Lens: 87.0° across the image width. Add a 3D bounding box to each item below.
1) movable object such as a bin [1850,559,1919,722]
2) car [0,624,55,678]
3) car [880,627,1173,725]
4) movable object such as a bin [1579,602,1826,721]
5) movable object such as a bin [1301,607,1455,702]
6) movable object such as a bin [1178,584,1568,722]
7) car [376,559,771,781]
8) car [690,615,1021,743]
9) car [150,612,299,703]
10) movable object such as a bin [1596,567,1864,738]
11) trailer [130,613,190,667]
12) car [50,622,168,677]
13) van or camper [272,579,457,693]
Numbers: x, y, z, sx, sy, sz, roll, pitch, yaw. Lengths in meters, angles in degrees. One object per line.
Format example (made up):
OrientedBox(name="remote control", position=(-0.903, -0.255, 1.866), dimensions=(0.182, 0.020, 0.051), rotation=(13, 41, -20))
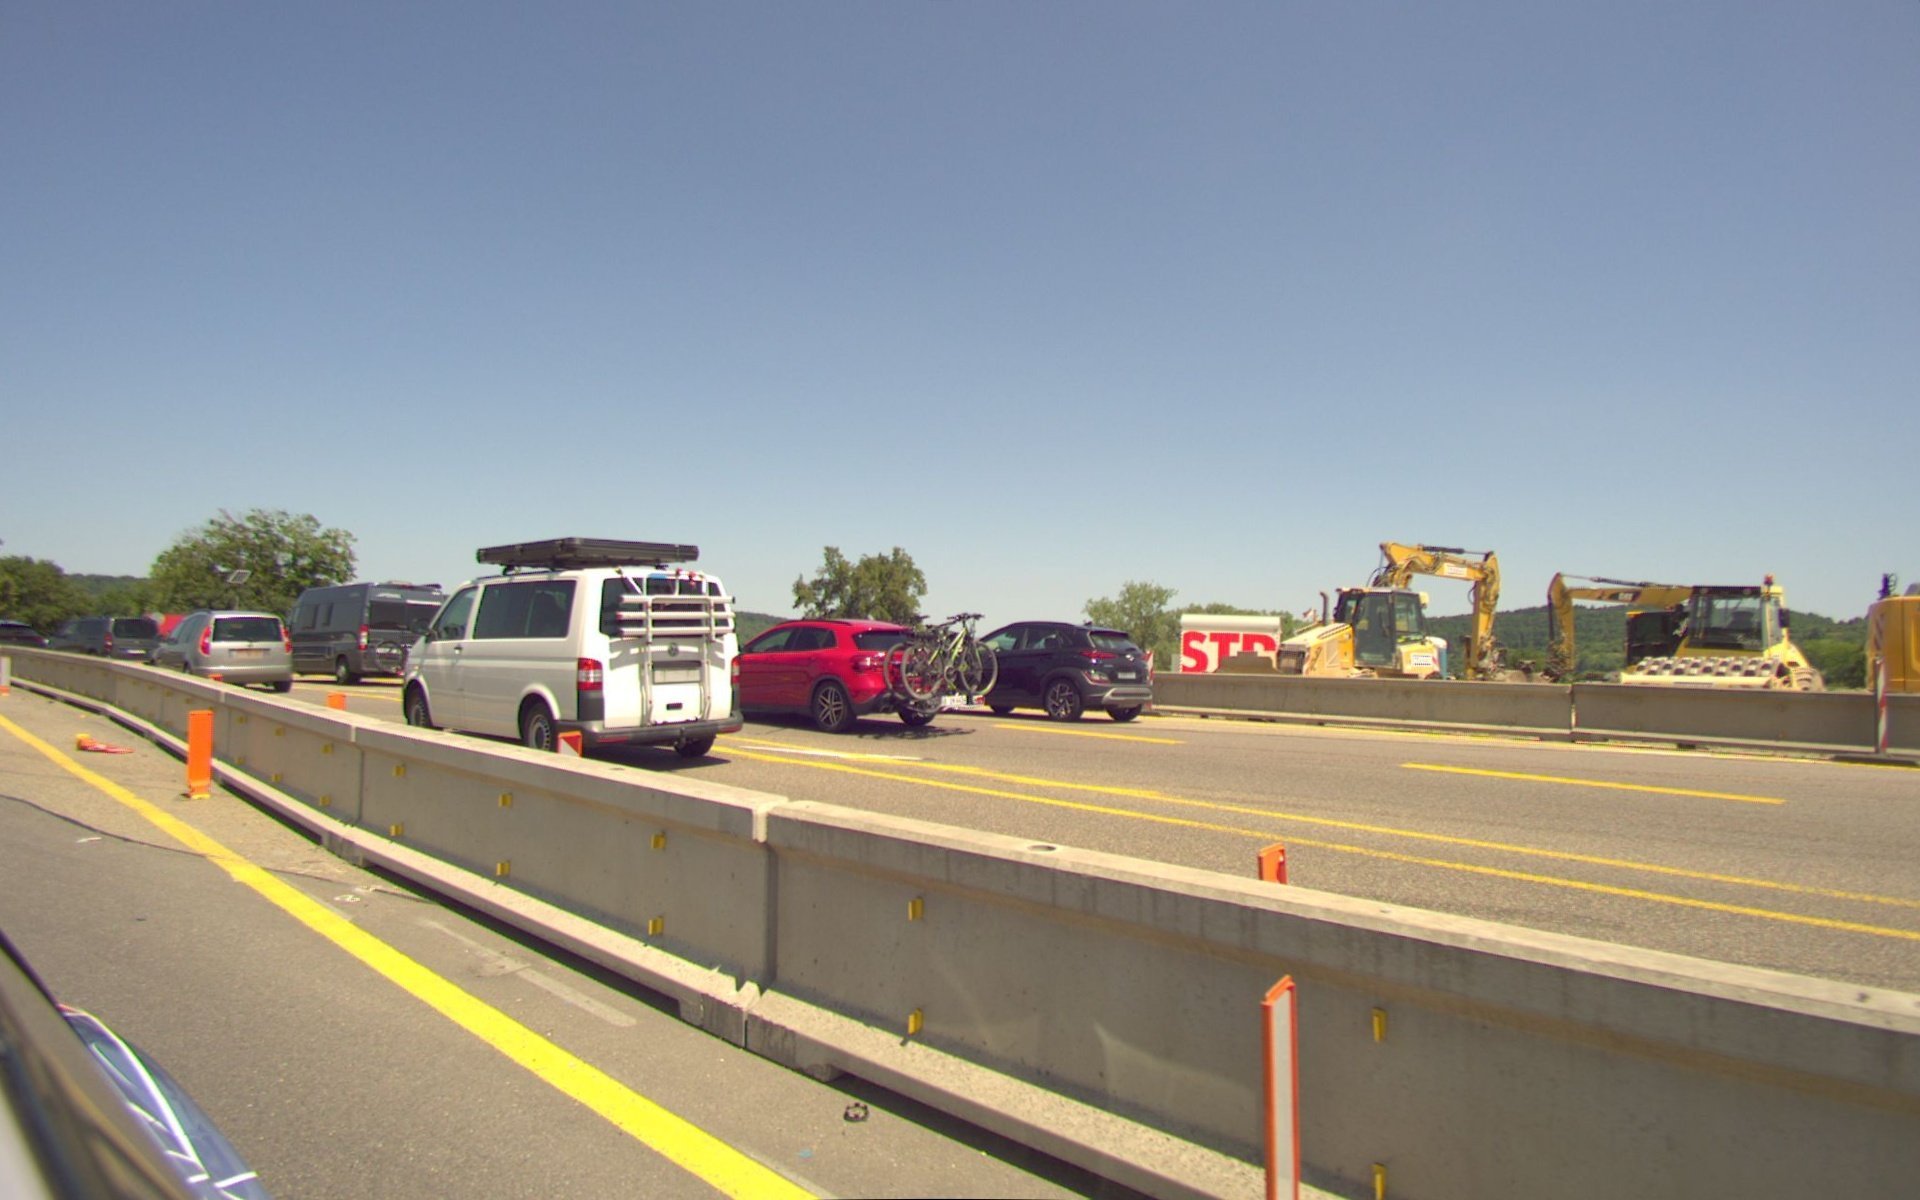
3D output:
OrientedBox(name="movable object such as a bin", position=(17.016, 0.600, 15.167), dimensions=(5.439, 2.459, 3.256), rotation=(-2, -2, 42))
OrientedBox(name="car", position=(-28.574, 1.498, 30.015), dimensions=(4.463, 1.493, 1.674), rotation=(-2, -5, 37))
OrientedBox(name="car", position=(0.977, 1.206, 16.624), dimensions=(4.651, 1.404, 1.787), rotation=(-2, -6, 40))
OrientedBox(name="movable object such as a bin", position=(22.448, 1.776, 31.090), dimensions=(5.532, 3.281, 3.770), rotation=(-1, -1, 29))
OrientedBox(name="movable object such as a bin", position=(13.017, 1.640, 31.703), dimensions=(3.304, 2.748, 2.889), rotation=(0, -1, -18))
OrientedBox(name="movable object such as a bin", position=(8.892, 0.936, 21.617), dimensions=(7.794, 2.451, 3.730), rotation=(-1, -1, -30))
OrientedBox(name="car", position=(-4.380, 0.692, 10.988), dimensions=(5.056, 1.887, 1.853), rotation=(-2, -4, 42))
OrientedBox(name="car", position=(-1.589, 0.992, 14.183), dimensions=(4.651, 1.513, 1.973), rotation=(-2, -2, 40))
OrientedBox(name="car", position=(-14.908, 1.107, 20.425), dimensions=(4.230, 1.628, 1.737), rotation=(-2, -2, 44))
OrientedBox(name="movable object such as a bin", position=(14.915, 0.888, 19.454), dimensions=(5.974, 2.784, 2.816), rotation=(0, -1, -40))
OrientedBox(name="trailer", position=(-66.756, 3.479, 84.279), dimensions=(3.111, 4.143, 14.183), rotation=(5, -6, -41))
OrientedBox(name="car", position=(-29.417, 1.713, 34.946), dimensions=(4.696, 1.778, 1.761), rotation=(-1, -5, 33))
OrientedBox(name="van or camper", position=(-15.140, 0.935, 25.546), dimensions=(6.302, 2.561, 2.076), rotation=(-2, -5, 42))
